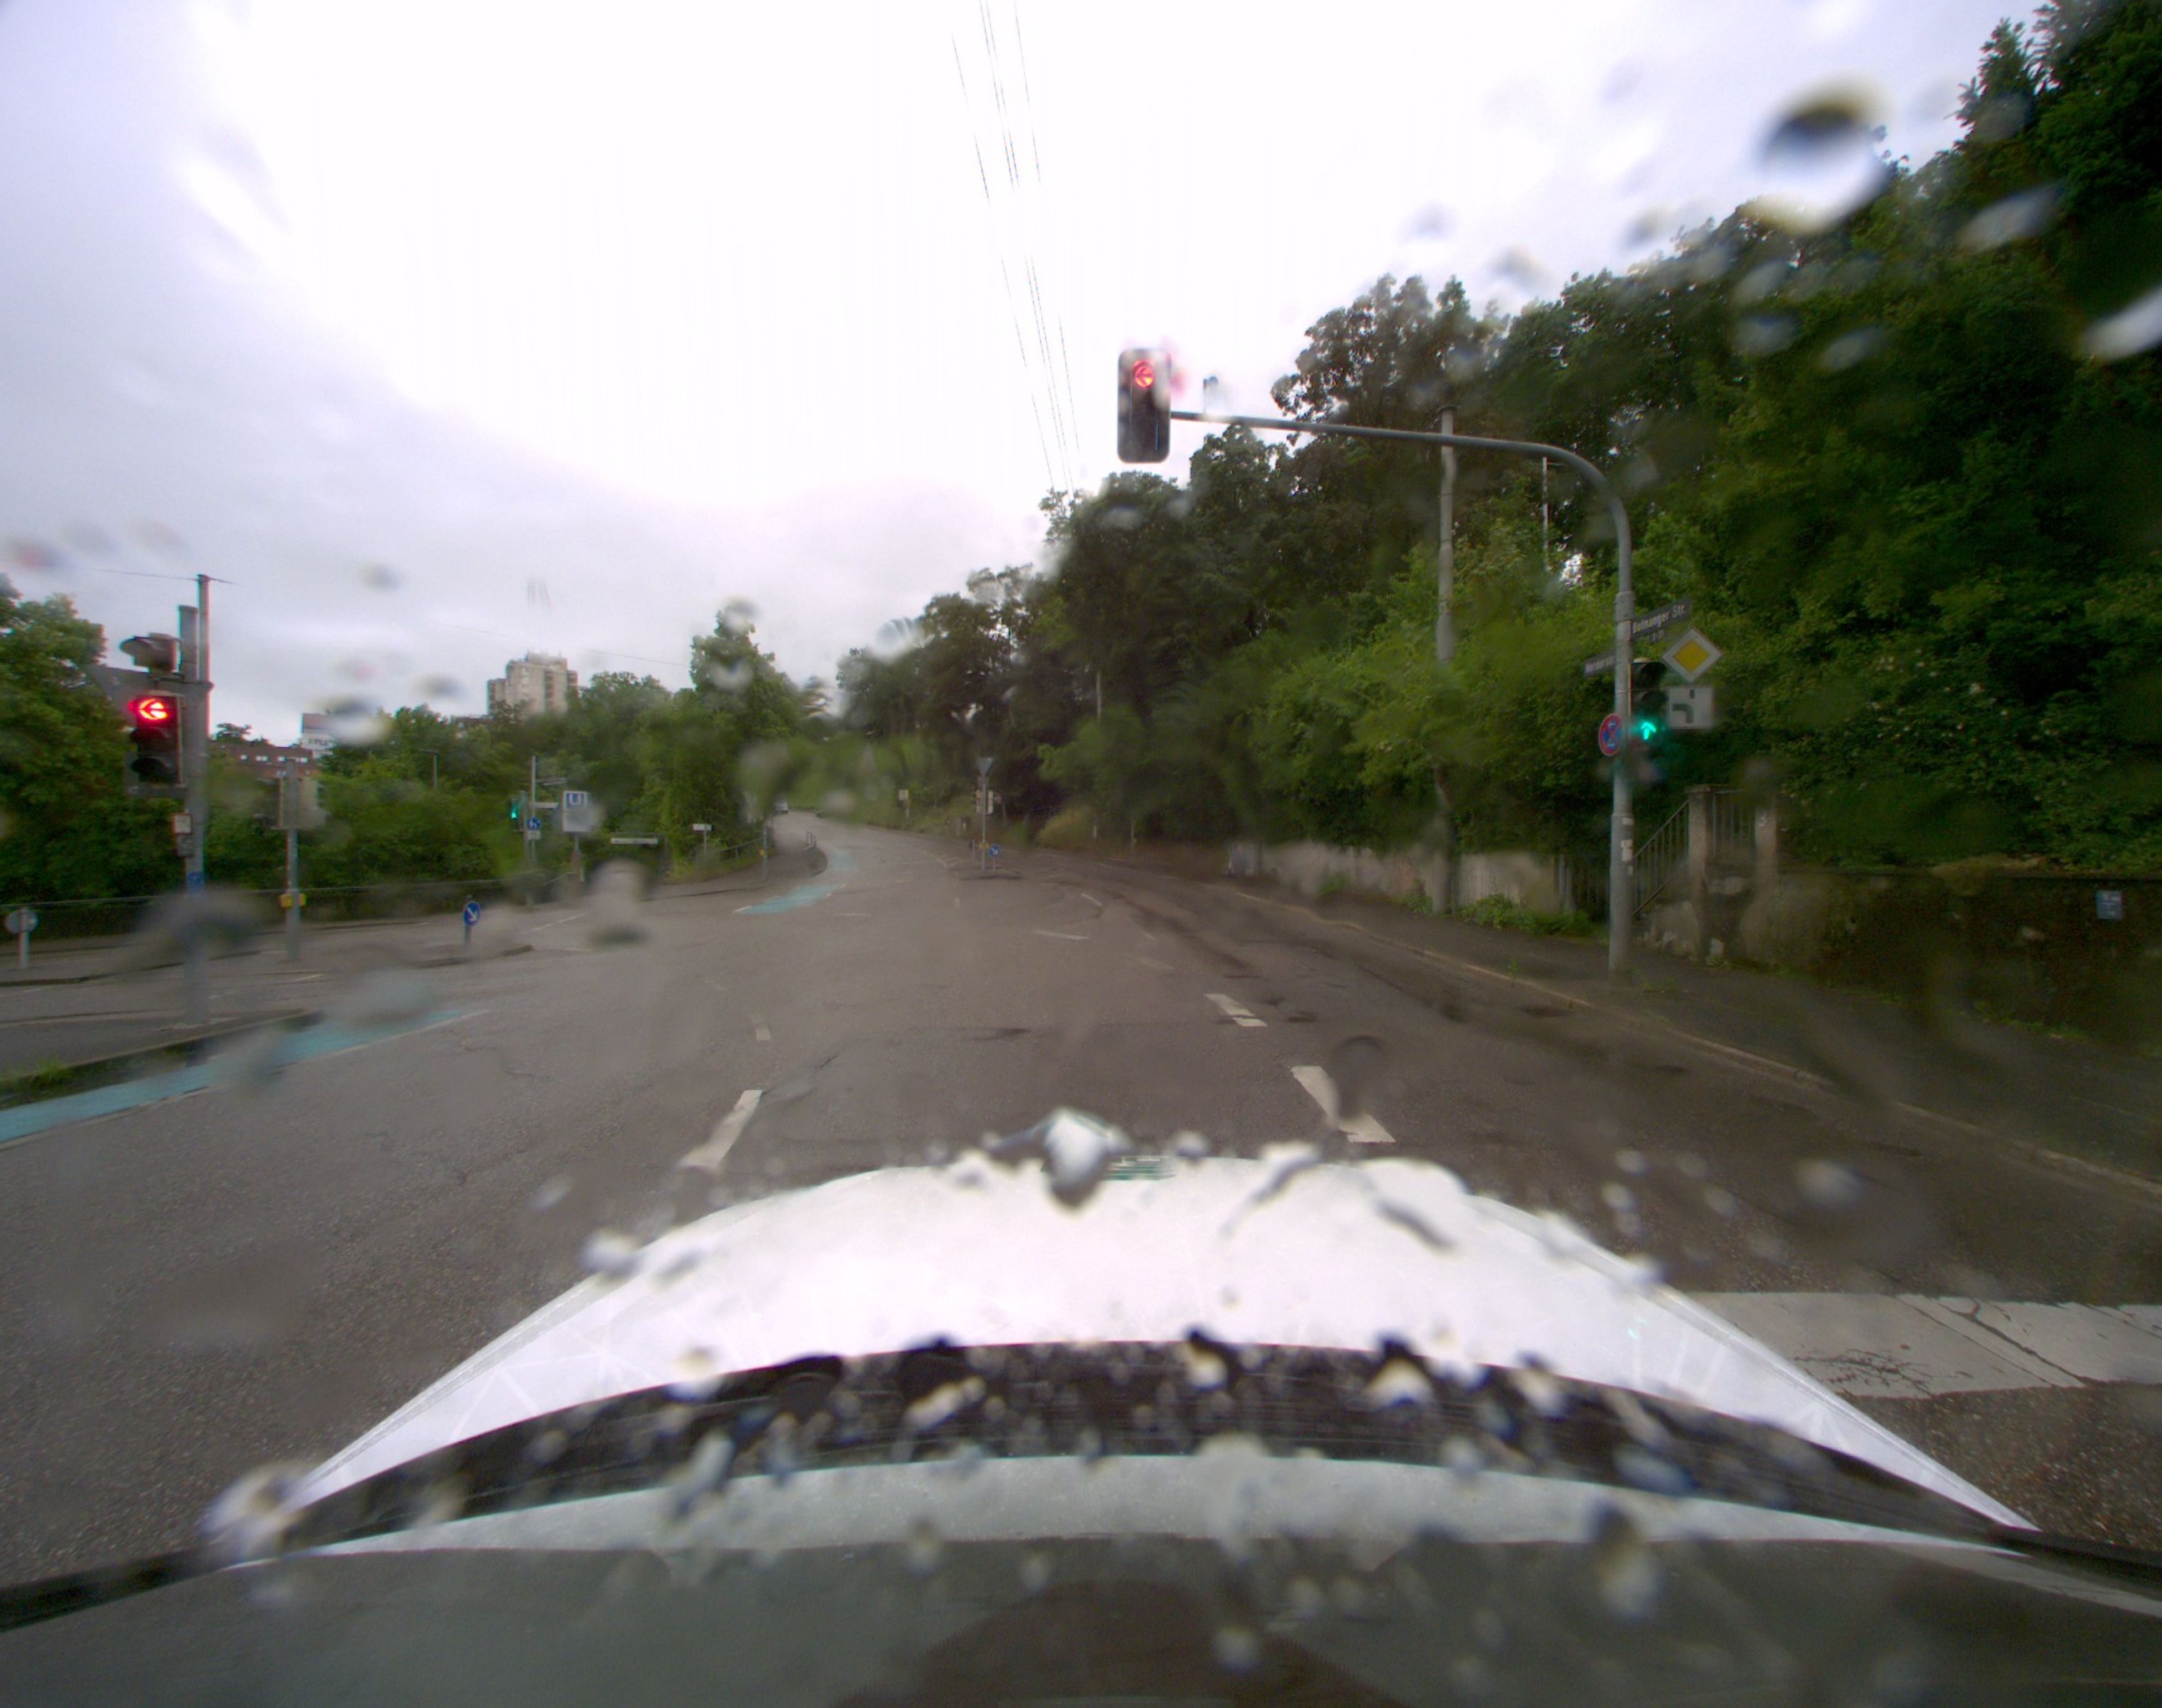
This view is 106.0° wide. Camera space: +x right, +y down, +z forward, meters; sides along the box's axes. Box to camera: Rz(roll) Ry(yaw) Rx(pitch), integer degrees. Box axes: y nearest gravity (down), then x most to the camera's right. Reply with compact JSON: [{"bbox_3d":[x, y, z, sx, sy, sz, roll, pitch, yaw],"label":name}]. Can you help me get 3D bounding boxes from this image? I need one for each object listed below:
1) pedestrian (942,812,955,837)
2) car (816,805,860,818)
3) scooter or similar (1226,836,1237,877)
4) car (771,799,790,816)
[{"bbox_3d":[-9.473,-2.077,58.181,0.882,1.736,0.861,0,-1,-15],"label":"pedestrian"},{"bbox_3d":[-28.177,-4.944,94.499,4.368,1.511,1.966,1,3,5],"label":"car"},{"bbox_3d":[4.897,0.063,26.503,0.320,1.279,0.754,-1,2,10],"label":"scooter or similar"},{"bbox_3d":[-39.720,-6.102,107.651,2.071,2.006,4.787,-1,1,-17],"label":"car"}]
